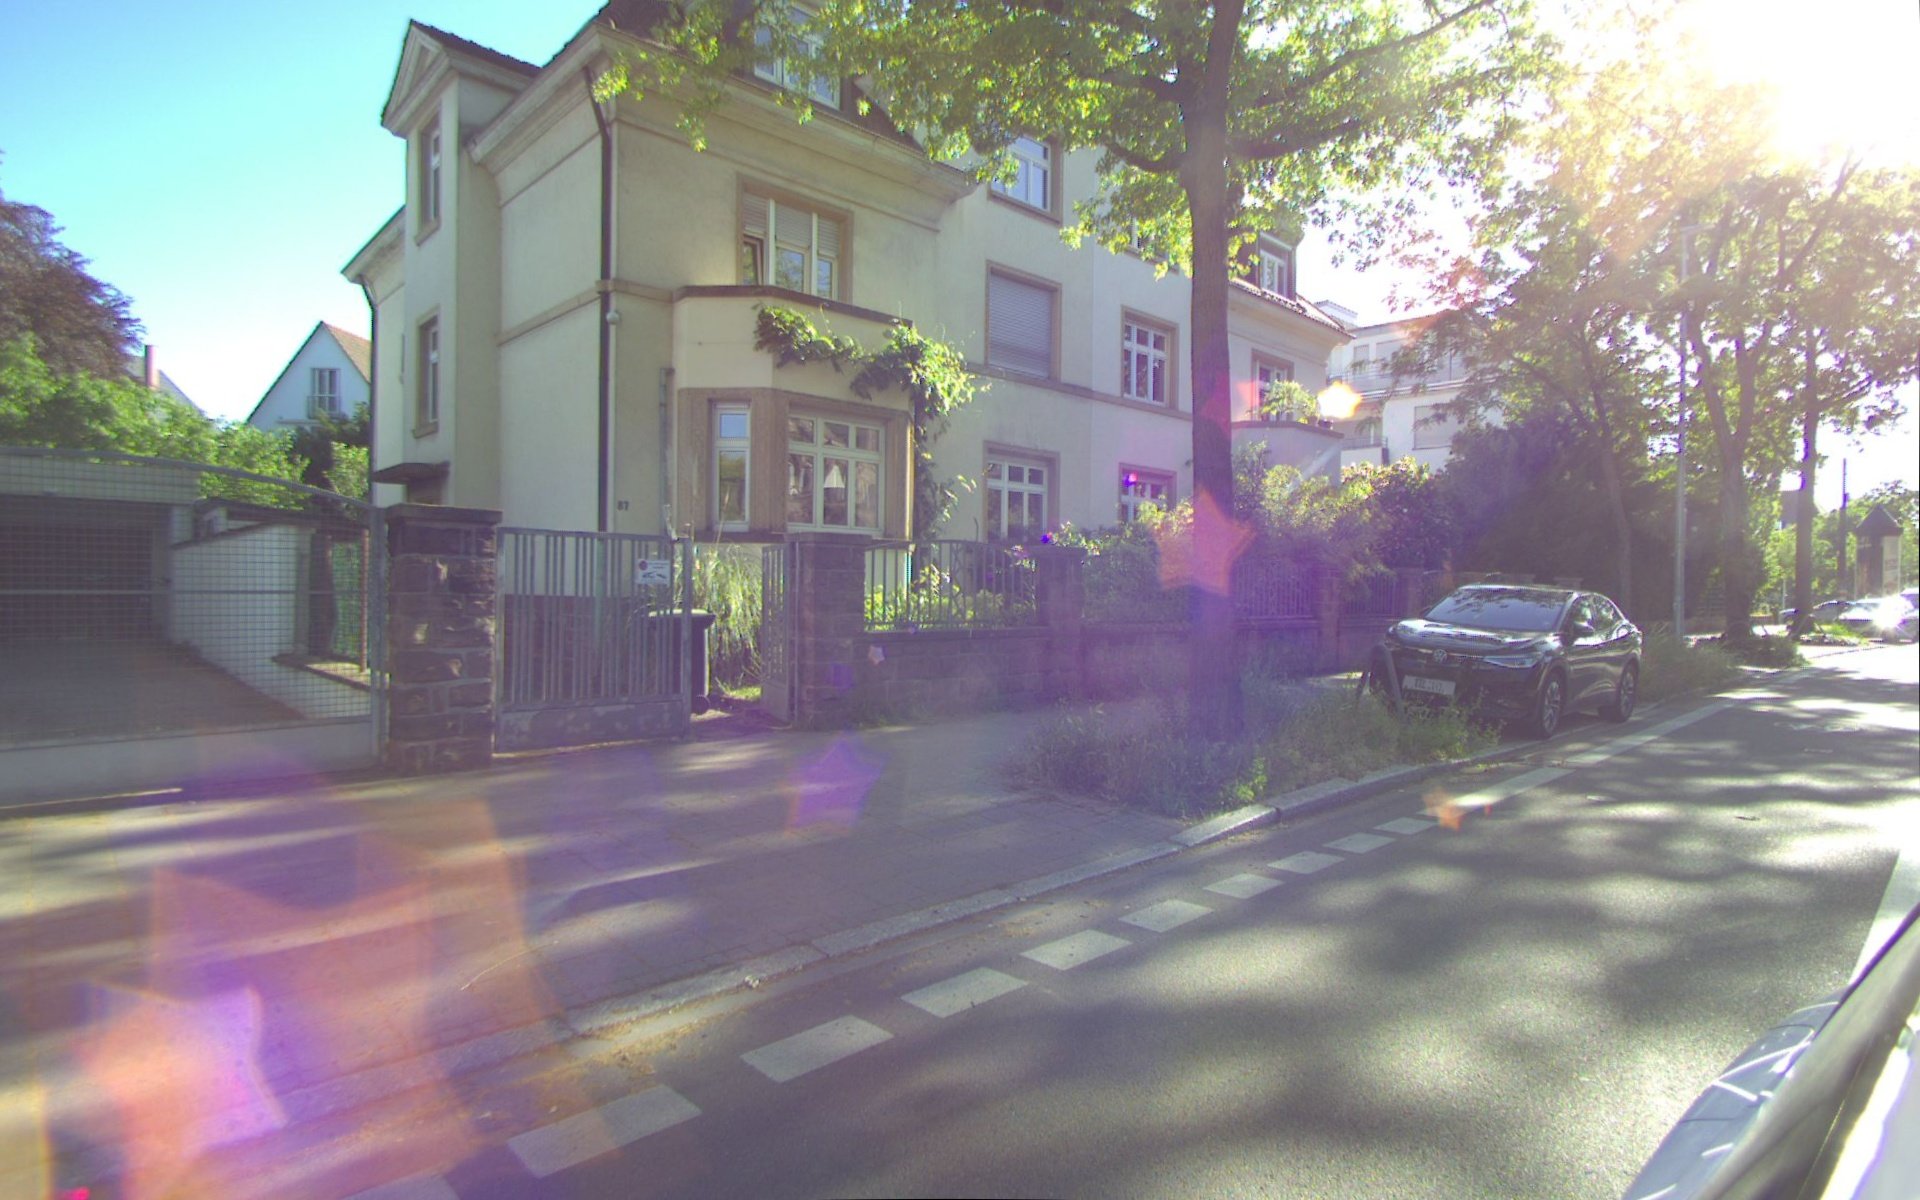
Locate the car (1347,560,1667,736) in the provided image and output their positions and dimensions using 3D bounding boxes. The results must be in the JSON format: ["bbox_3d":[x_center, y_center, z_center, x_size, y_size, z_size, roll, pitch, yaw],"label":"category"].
[{"bbox_3d":[6.705,0.482,12.210,4.304,1.695,1.997,1,2,-42],"label":"car"}]

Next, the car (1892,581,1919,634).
[{"bbox_3d":[36.811,0.269,38.011,4.663,1.919,2.128,0,1,-41],"label":"car"}]

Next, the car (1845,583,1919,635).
[{"bbox_3d":[31.512,0.259,34.115,3.927,1.660,1.824,0,1,-38],"label":"car"}]
